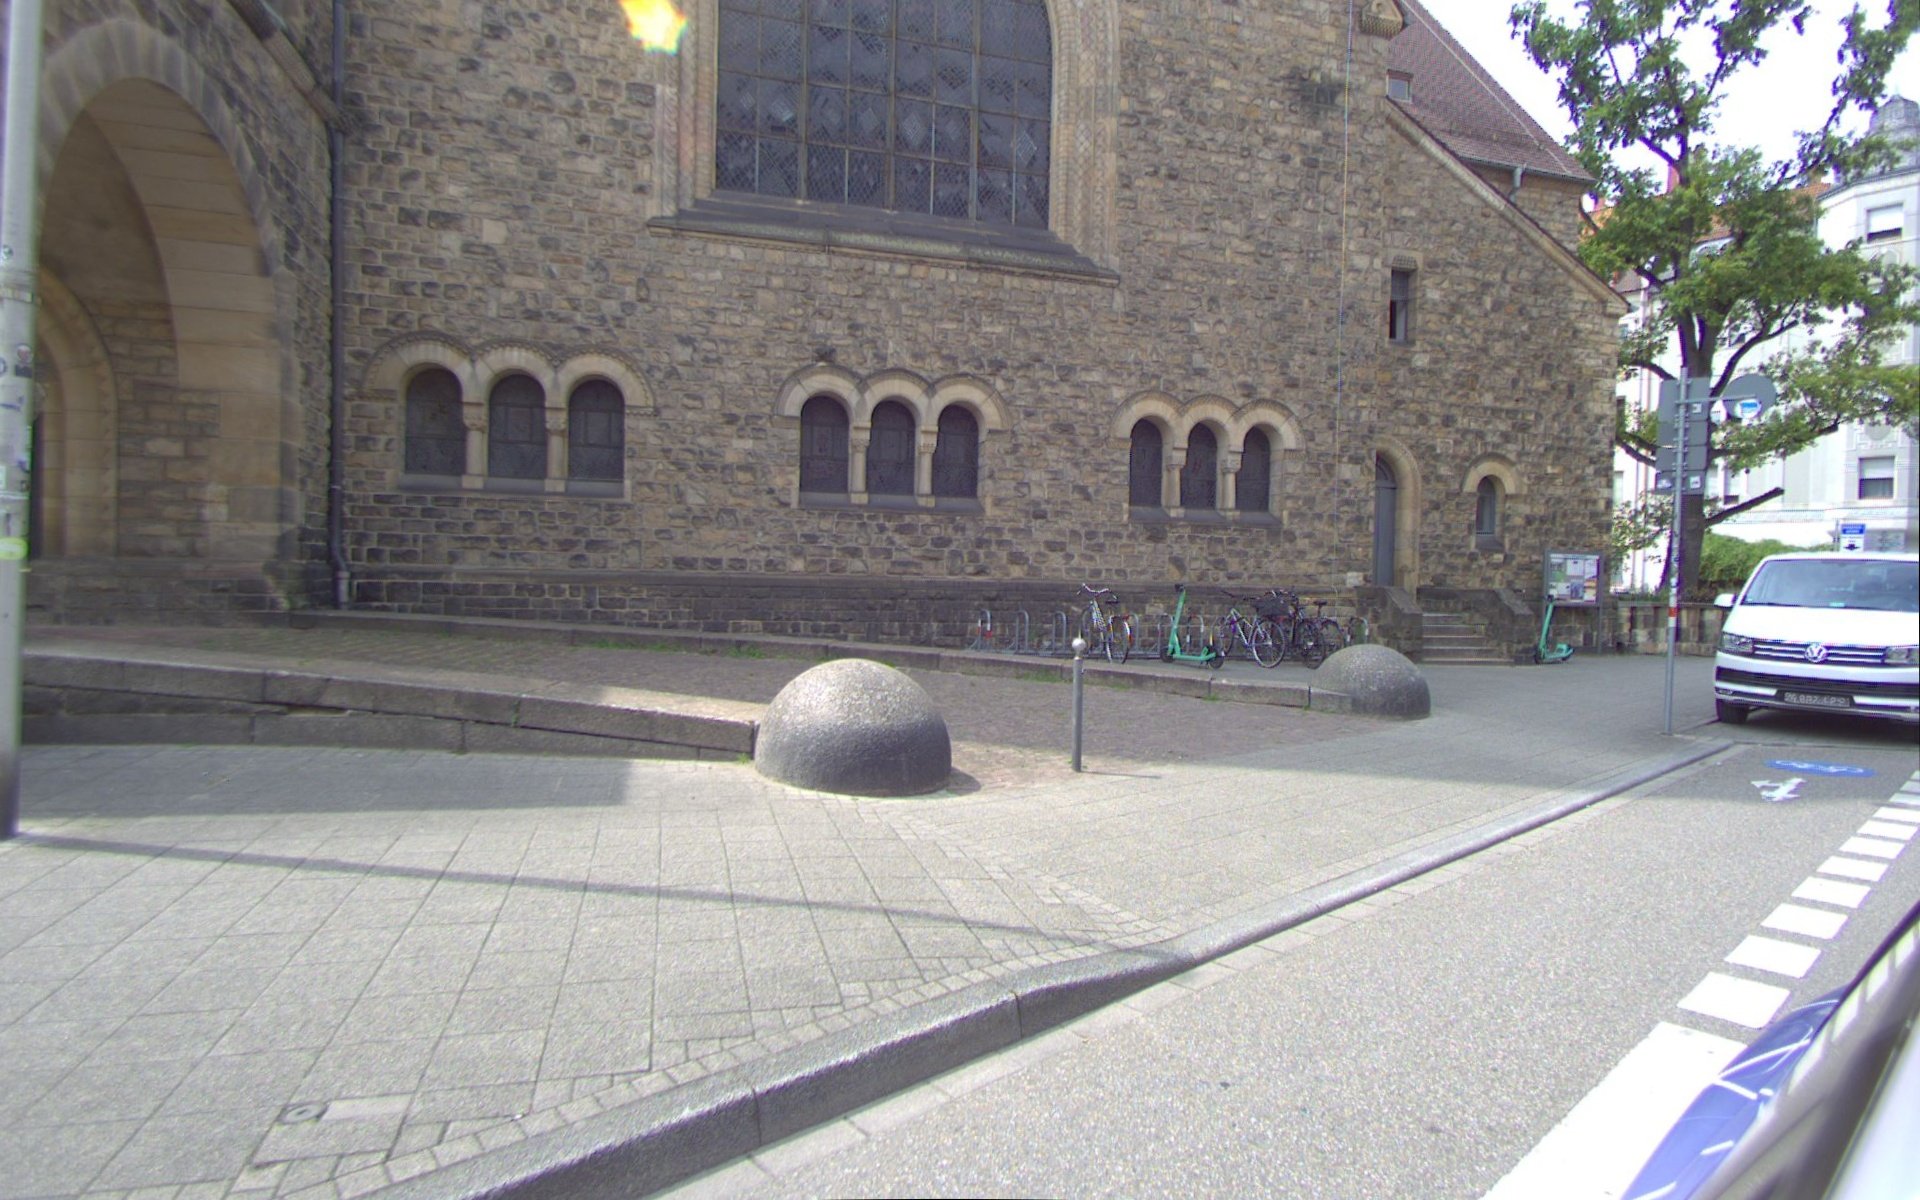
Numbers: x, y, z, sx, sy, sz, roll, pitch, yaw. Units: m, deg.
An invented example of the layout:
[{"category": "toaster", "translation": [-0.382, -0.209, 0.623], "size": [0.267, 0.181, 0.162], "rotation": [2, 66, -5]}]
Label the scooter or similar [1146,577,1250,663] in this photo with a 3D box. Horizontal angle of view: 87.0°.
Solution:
[{"category": "scooter or similar", "translation": [3.458, 0.263, 14.854], "size": [0.534, 1.154, 1.786], "rotation": [1, 1, -21]}]

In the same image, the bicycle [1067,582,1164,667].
[{"category": "bicycle", "translation": [2.211, 0.318, 14.616], "size": [0.534, 1.125, 1.786], "rotation": [1, 1, -21]}]

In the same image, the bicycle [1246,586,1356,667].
[{"category": "bicycle", "translation": [5.148, 0.377, 15.404], "size": [0.534, 1.125, 1.779], "rotation": [1, 1, -21]}]

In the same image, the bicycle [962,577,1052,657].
[{"category": "bicycle", "translation": [0.627, 0.212, 14.196], "size": [0.534, 0.969, 1.787], "rotation": [1, 3, -21]}]

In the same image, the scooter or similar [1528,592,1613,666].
[{"category": "scooter or similar", "translation": [10.428, 0.487, 17.278], "size": [1.413, 1.222, 0.547], "rotation": [1, 1, -27]}]

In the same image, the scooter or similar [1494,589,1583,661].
[{"category": "scooter or similar", "translation": [10.256, 0.446, 17.940], "size": [1.450, 1.222, 0.547], "rotation": [1, 1, -21]}]

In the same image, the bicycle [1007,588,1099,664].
[{"category": "bicycle", "translation": [1.297, 0.346, 14.403], "size": [0.534, 0.969, 1.786], "rotation": [1, 1, -21]}]

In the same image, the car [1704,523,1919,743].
[{"category": "car", "translation": [10.437, 0.276, 11.614], "size": [5.035, 2.054, 2.018], "rotation": [0, 3, -42]}]

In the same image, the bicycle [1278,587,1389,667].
[{"category": "bicycle", "translation": [5.736, 0.385, 15.649], "size": [0.534, 1.125, 1.786], "rotation": [1, 1, -21]}]

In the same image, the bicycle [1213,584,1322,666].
[{"category": "bicycle", "translation": [4.578, 0.346, 15.204], "size": [0.534, 1.125, 1.786], "rotation": [1, 1, -21]}]
